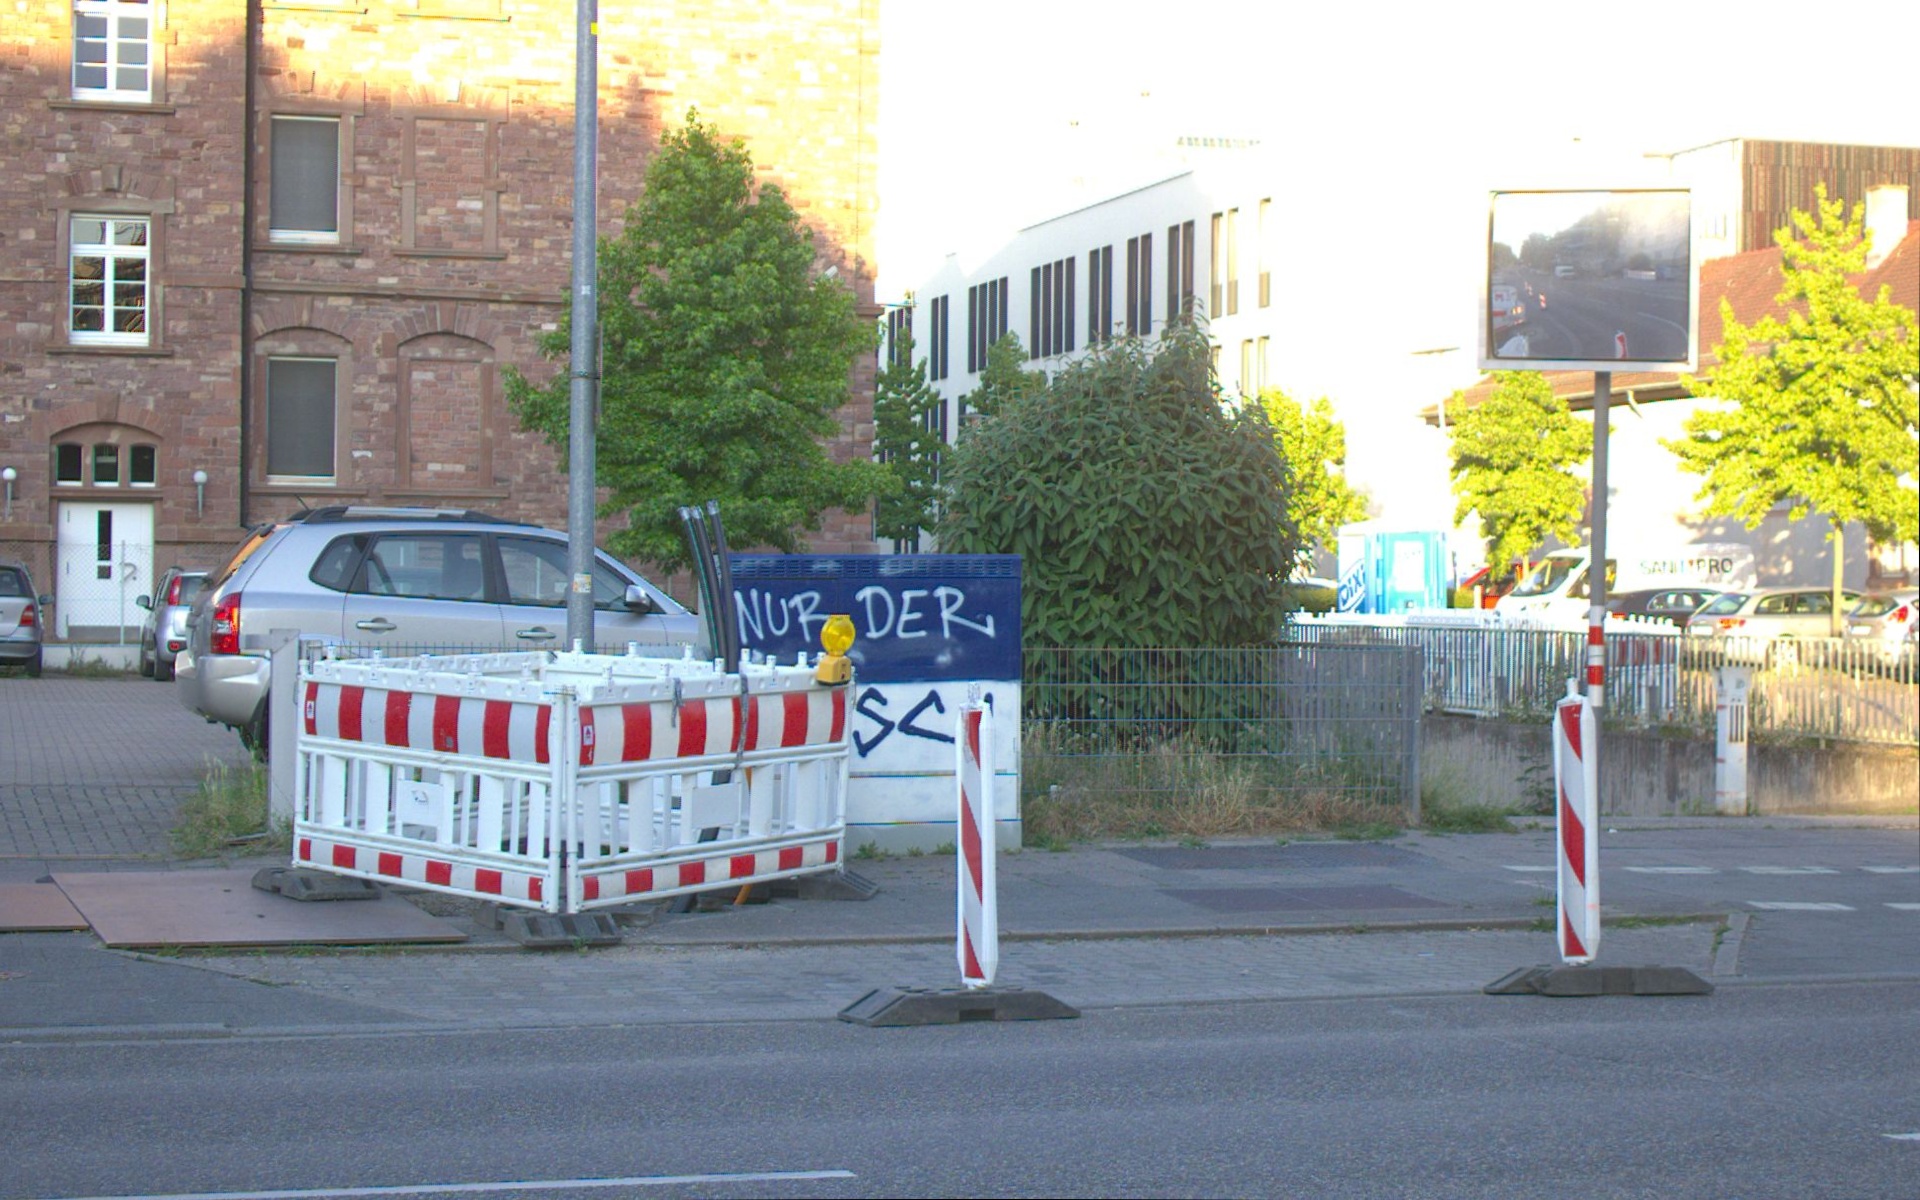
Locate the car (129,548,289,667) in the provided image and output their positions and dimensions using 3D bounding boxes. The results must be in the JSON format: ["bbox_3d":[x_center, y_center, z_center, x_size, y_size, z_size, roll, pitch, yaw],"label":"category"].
[{"bbox_3d":[-10.306,0.067,47.000,1.896,1.532,4.180,0,1,-15],"label":"car"}]

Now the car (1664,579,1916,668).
[{"bbox_3d":[13.801,0.391,57.180,3.739,1.440,1.687,1,0,-19],"label":"car"}]

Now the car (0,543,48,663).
[{"bbox_3d":[-13.213,0.007,46.021,1.896,1.532,4.180,0,1,-15],"label":"car"}]

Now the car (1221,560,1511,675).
[{"bbox_3d":[5.812,0.250,49.251,3.739,1.597,1.687,1,0,-19],"label":"car"}]

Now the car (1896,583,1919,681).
[{"bbox_3d":[15.941,0.486,50.845,3.739,1.440,1.687,1,0,-19],"label":"car"}]

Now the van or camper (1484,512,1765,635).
[{"bbox_3d":[12.462,-0.481,64.465,4.961,2.233,1.687,1,0,-19],"label":"van or camper"}]

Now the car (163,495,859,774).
[{"bbox_3d":[-2.948,0.206,22.407,4.268,1.703,1.703,0,1,-17],"label":"car"}]

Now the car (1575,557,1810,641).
[{"bbox_3d":[13.036,-0.012,61.194,3.739,1.440,1.687,1,0,-19],"label":"car"}]

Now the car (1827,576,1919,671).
[{"bbox_3d":[15.583,0.363,53.489,3.739,1.440,1.687,1,0,-19],"label":"car"}]

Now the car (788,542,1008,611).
[{"bbox_3d":[-1.241,-0.460,68.103,3.986,1.308,1.878,1,0,-17],"label":"car"}]
